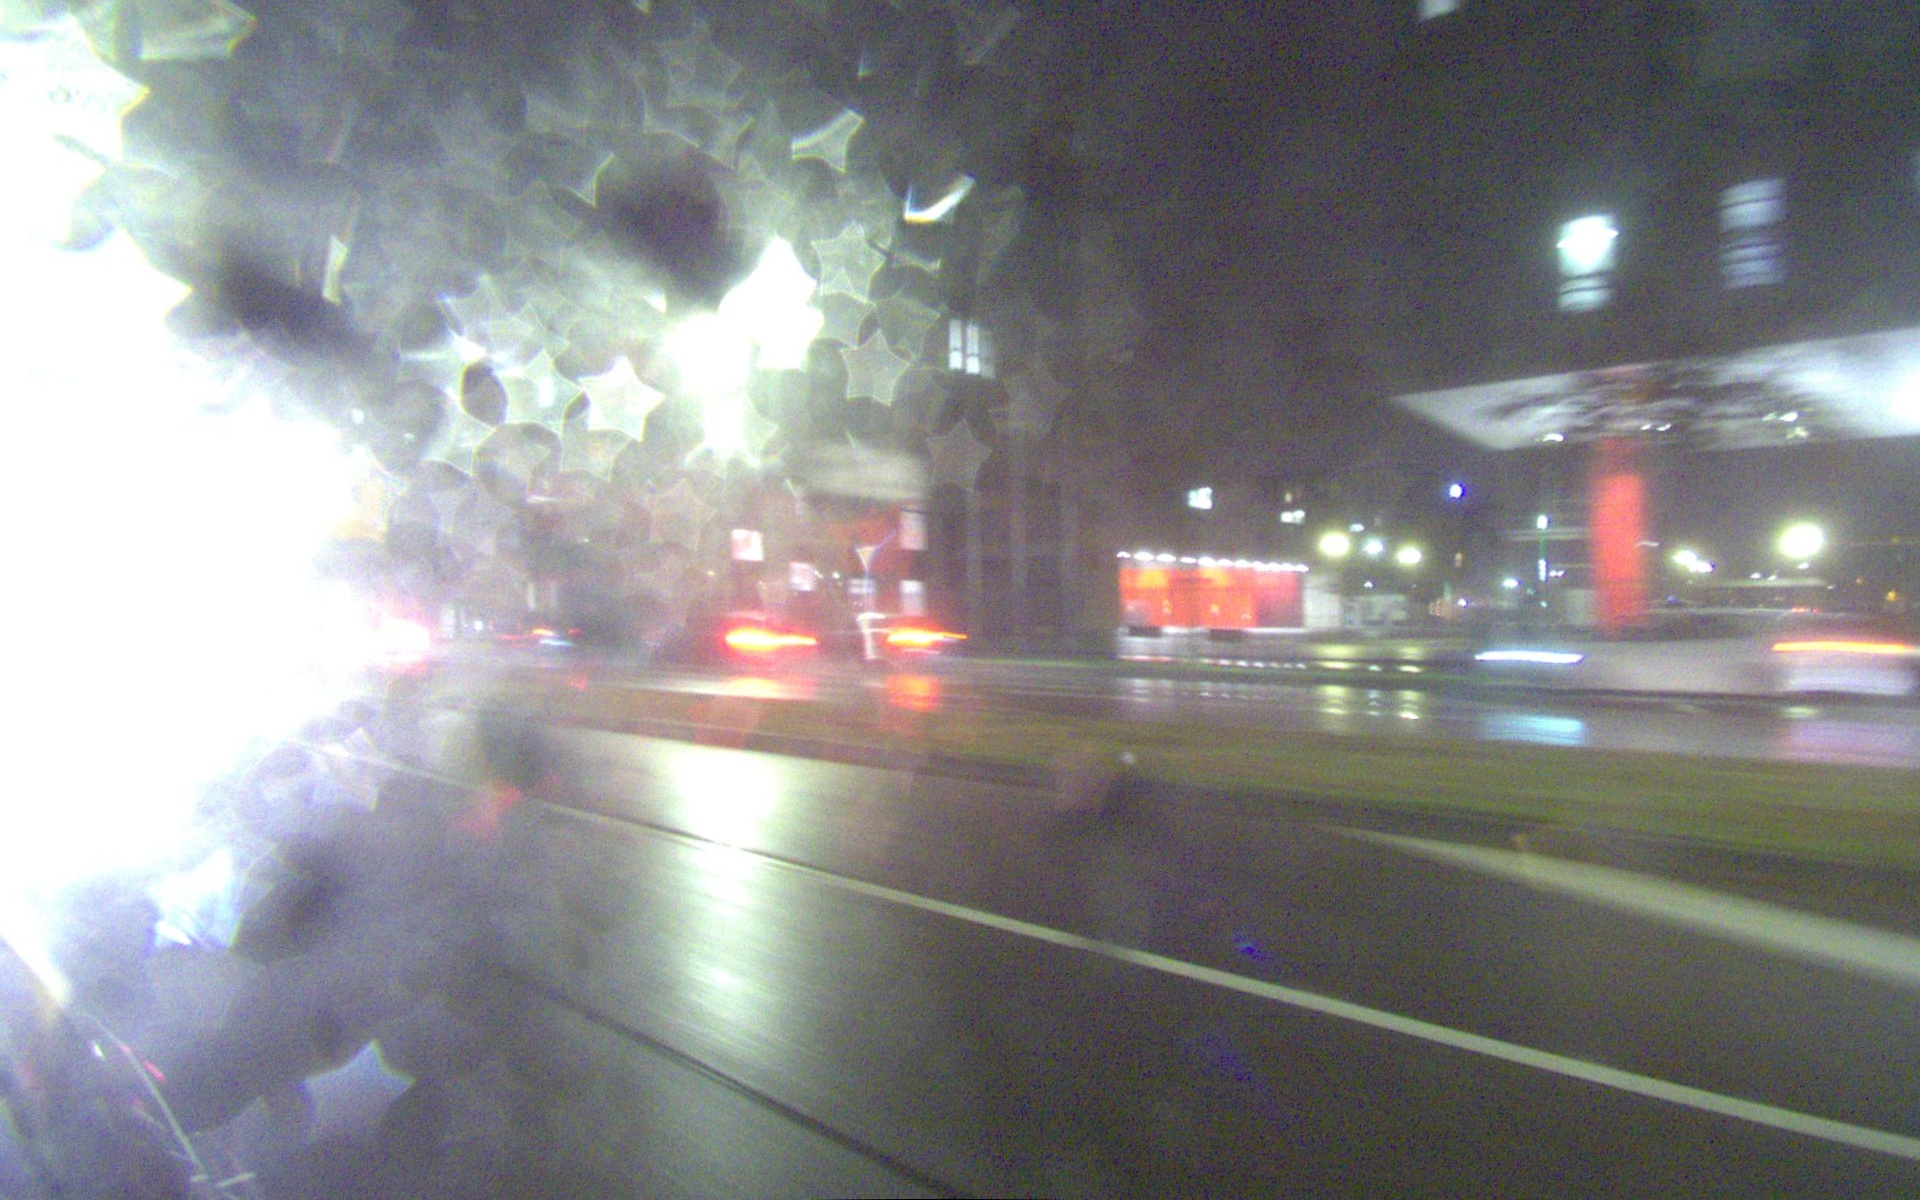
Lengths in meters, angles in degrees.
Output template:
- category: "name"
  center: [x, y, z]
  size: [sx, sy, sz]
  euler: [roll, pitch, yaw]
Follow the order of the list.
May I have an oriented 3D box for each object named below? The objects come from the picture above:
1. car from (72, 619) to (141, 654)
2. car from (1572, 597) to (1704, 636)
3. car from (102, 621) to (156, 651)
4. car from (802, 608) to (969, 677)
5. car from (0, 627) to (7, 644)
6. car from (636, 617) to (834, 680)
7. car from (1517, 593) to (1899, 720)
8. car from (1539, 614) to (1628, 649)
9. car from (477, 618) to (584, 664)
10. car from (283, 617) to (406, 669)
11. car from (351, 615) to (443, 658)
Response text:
- category: "car"
  center: [-41.814, 1.766, 49.558]
  size: [4.253, 1.605, 1.825]
  euler: [-1, -4, 40]
- category: "car"
  center: [34.645, 0.833, 51.838]
  size: [5.423, 1.829, 1.973]
  euler: [-1, 0, 40]
- category: "car"
  center: [-47.482, 2.015, 57.818]
  size: [3.816, 1.589, 1.690]
  euler: [-1, 0, 40]
- category: "car"
  center: [-2.016, 1.047, 26.394]
  size: [4.364, 1.604, 1.824]
  euler: [-1, 0, 42]
- category: "car"
  center: [-93.072, 3.431, 97.253]
  size: [3.816, 1.589, 1.690]
  euler: [-1, 0, 40]
- category: "car"
  center: [-5.759, 1.145, 25.466]
  size: [5.553, 1.368, 1.825]
  euler: [-1, 0, 39]
- category: "car"
  center: [10.971, 0.741, 15.092]
  size: [4.364, 1.604, 1.824]
  euler: [-1, 0, 42]
- category: "car"
  center: [35.063, 1.726, 56.974]
  size: [3.997, 1.829, 1.973]
  euler: [-1, 0, 40]
- category: "car"
  center: [-16.386, 1.515, 38.512]
  size: [4.747, 1.604, 1.824]
  euler: [-1, 0, 41]
- category: "car"
  center: [-21.441, 1.438, 35.158]
  size: [5.318, 1.604, 1.826]
  euler: [-1, 0, 37]
- category: "car"
  center: [-22.956, 1.442, 41.172]
  size: [4.749, 1.604, 1.824]
  euler: [-1, 0, 42]
